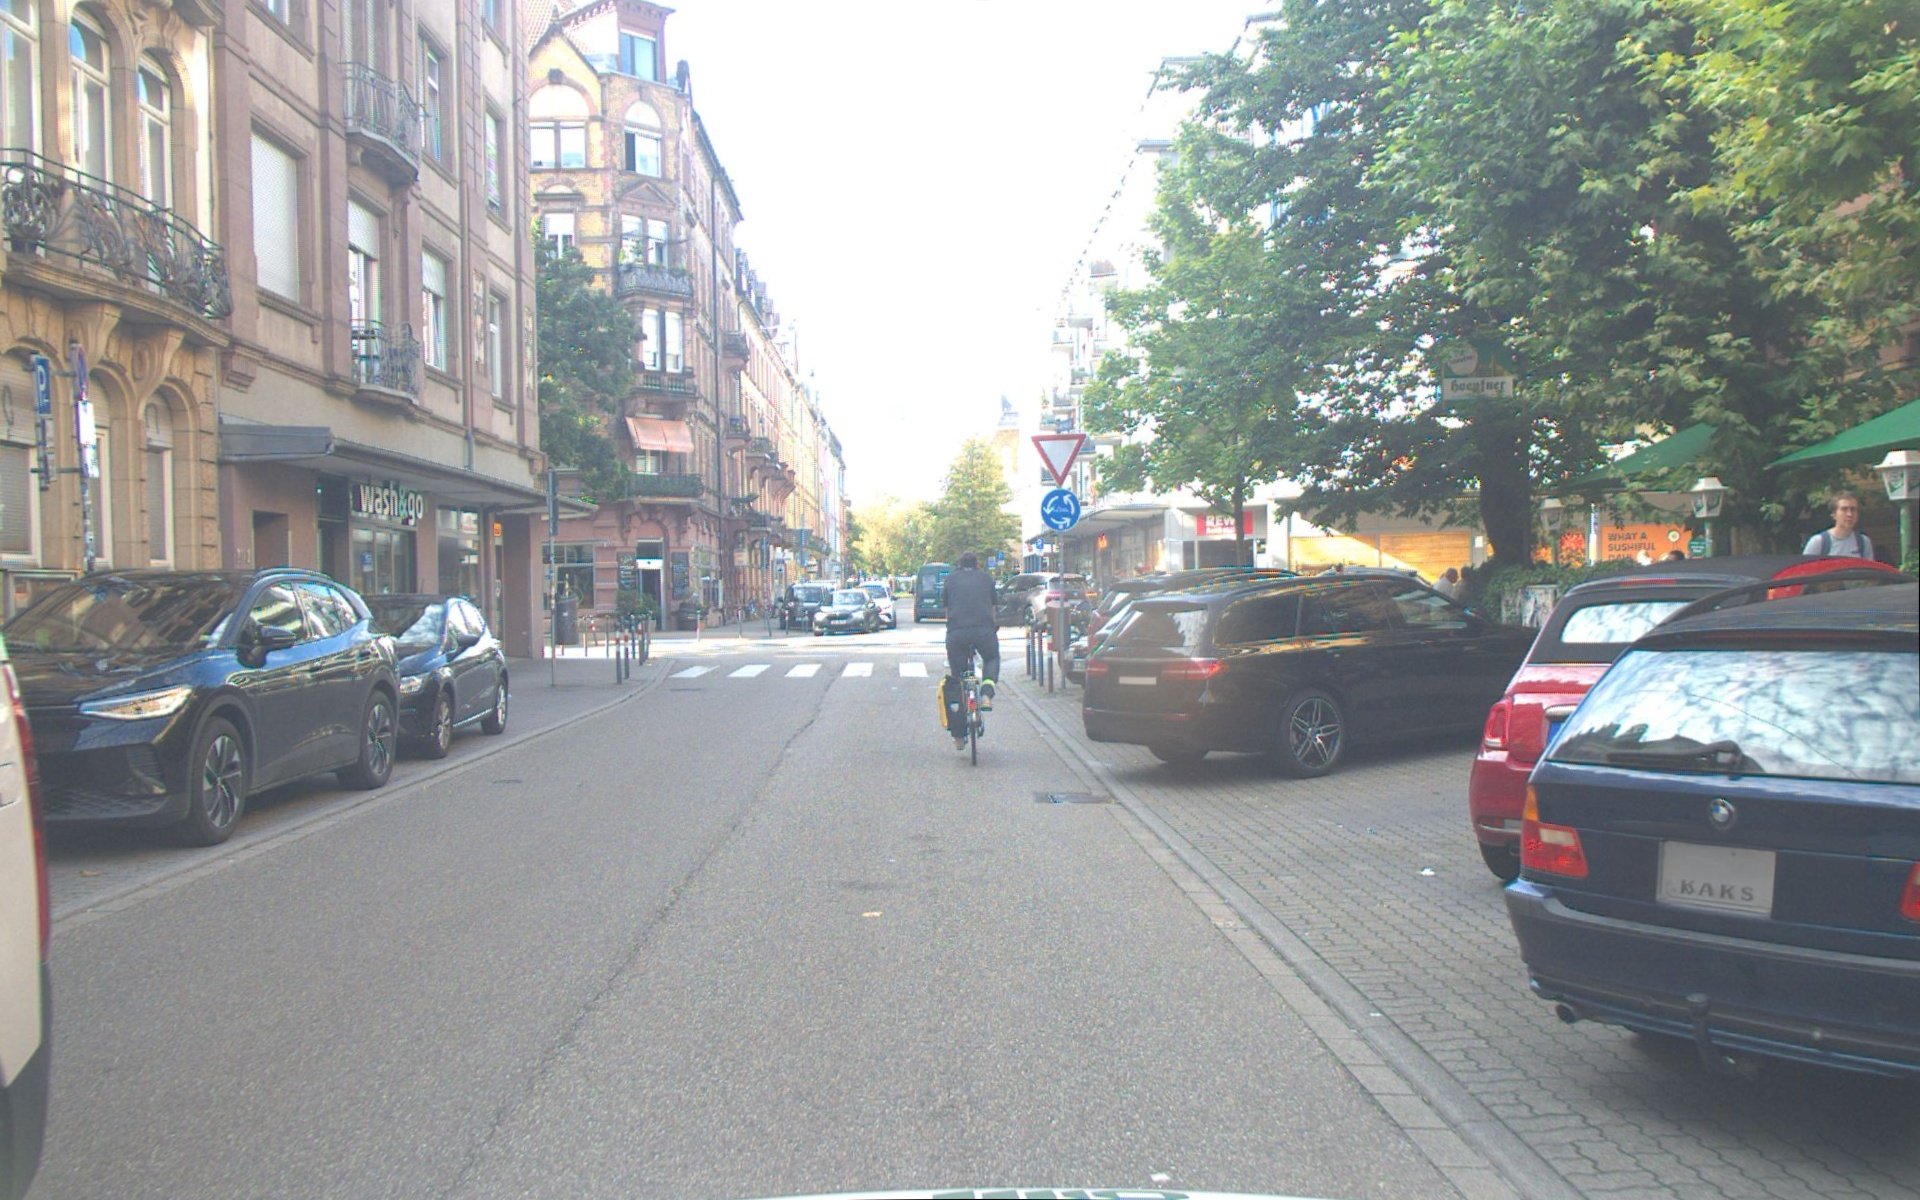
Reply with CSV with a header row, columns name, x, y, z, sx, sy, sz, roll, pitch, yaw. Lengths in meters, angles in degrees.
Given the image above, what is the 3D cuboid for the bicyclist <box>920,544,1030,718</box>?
name,x,y,z,sx,sy,sz,roll,pitch,yaw
bicyclist,0.121,0.264,14.732,0.915,1.510,0.746,0,0,-5

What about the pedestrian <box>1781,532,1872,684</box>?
name,x,y,z,sx,sy,sz,roll,pitch,yaw
pedestrian,9.908,0.092,18.928,0.633,1.670,0.563,-4,0,-6

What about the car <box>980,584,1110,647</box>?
name,x,y,z,sx,sy,sz,roll,pitch,yaw
car,2.376,0.424,47.267,1.971,1.646,3.963,-2,1,-28

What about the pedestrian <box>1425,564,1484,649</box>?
name,x,y,z,sx,sy,sz,roll,pitch,yaw
pedestrian,8.160,0.110,27.294,0.742,1.366,0.596,-2,0,-6

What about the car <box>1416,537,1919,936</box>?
name,x,y,z,sx,sy,sz,roll,pitch,yaw
car,4.134,0.489,8.386,3.686,1.511,1.716,-4,2,-40

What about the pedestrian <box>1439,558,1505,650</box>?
name,x,y,z,sx,sy,sz,roll,pitch,yaw
pedestrian,8.232,0.063,26.615,0.781,1.431,0.702,-2,0,-6

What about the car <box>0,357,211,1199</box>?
name,x,y,z,sx,sy,sz,roll,pitch,yaw
car,-2.418,0.558,1.121,1.879,1.860,4.437,0,0,-1

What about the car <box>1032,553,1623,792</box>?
name,x,y,z,sx,sy,sz,roll,pitch,yaw
car,3.143,0.481,13.894,4.704,1.482,2.036,-4,2,-30

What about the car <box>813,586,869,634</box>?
name,x,y,z,sx,sy,sz,roll,pitch,yaw
car,-3.831,0.318,53.625,1.715,1.461,4.209,0,0,-3

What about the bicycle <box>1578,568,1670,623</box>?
name,x,y,z,sx,sy,sz,roll,pitch,yaw
bicycle,15.507,-0.112,38.668,1.927,1.220,0.712,-1,0,19

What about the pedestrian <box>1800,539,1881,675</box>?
name,x,y,z,sx,sy,sz,roll,pitch,yaw
pedestrian,10.624,0.078,19.972,0.616,1.597,0.569,-2,0,-6

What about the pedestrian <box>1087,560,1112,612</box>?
name,x,y,z,sx,sy,sz,roll,pitch,yaw
pedestrian,4.561,-0.461,54.094,0.729,1.657,0.813,-1,0,9

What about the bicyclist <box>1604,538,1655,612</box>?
name,x,y,z,sx,sy,sz,roll,pitch,yaw
bicyclist,15.623,-0.580,38.630,0.991,1.697,0.944,-1,0,18

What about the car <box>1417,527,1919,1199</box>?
name,x,y,z,sx,sy,sz,roll,pitch,yaw
car,3.689,0.505,5.489,4.422,1.489,1.855,-5,2,-37

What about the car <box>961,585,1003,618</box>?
name,x,y,z,sx,sy,sz,roll,pitch,yaw
car,1.055,0.049,81.724,1.953,1.512,3.999,-2,1,-1

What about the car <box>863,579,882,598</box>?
name,x,y,z,sx,sy,sz,roll,pitch,yaw
car,-9.756,-1.300,184.485,1.953,2.049,3.998,-2,0,-2

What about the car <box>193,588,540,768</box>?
name,x,y,z,sx,sy,sz,roll,pitch,yaw
car,-5.530,0.641,16.049,1.954,1.445,4.242,-2,1,-2

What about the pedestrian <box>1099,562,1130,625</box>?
name,x,y,z,sx,sy,sz,roll,pitch,yaw
pedestrian,4.688,-0.190,50.204,0.850,1.883,0.613,-1,0,3

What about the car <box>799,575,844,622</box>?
name,x,y,z,sx,sy,sz,roll,pitch,yaw
car,-6.395,-0.068,76.654,1.954,2.049,3.997,-2,0,-4

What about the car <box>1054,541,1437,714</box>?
name,x,y,z,sx,sy,sz,roll,pitch,yaw
car,3.458,0.271,19.885,4.292,1.673,1.805,-4,2,-28

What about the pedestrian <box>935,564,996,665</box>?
name,x,y,z,sx,sy,sz,roll,pitch,yaw
pedestrian,0.107,0.266,30.528,0.768,1.811,0.790,-2,0,37

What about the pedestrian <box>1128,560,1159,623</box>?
name,x,y,z,sx,sy,sz,roll,pitch,yaw
pedestrian,5.556,-0.264,50.152,0.850,1.883,0.613,-1,0,3

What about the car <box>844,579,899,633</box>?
name,x,y,z,sx,sy,sz,roll,pitch,yaw
car,-3.295,0.187,62.416,1.904,1.751,4.848,-3,2,-2

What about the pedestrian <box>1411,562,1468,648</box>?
name,x,y,z,sx,sy,sz,roll,pitch,yaw
pedestrian,8.081,0.083,27.876,0.742,1.417,0.548,-2,0,-6

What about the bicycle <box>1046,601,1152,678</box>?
name,x,y,z,sx,sy,sz,roll,pitch,yaw
bicycle,2.036,0.589,24.473,0.542,1.058,1.837,-5,1,-30

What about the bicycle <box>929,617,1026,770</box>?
name,x,y,z,sx,sy,sz,roll,pitch,yaw
bicycle,0.123,0.773,14.677,0.652,1.198,2.495,0,0,-4

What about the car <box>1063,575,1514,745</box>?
name,x,y,z,sx,sy,sz,roll,pitch,yaw
car,3.439,0.545,17.218,4.348,1.482,1.926,-2,1,-27

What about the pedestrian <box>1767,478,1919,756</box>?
name,x,y,z,sx,sy,sz,roll,pitch,yaw
pedestrian,6.401,0.113,11.880,0.822,1.911,0.723,-2,0,2

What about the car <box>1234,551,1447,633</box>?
name,x,y,z,sx,sy,sz,roll,pitch,yaw
car,9.349,-0.183,40.676,4.733,1.754,2.042,-2,2,25

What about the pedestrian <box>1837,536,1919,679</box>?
name,x,y,z,sx,sy,sz,roll,pitch,yaw
pedestrian,10.552,0.078,18.975,0.616,1.597,0.569,-2,0,-6

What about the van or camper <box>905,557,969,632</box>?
name,x,y,z,sx,sy,sz,roll,pitch,yaw
van or camper,-1.038,-0.245,72.117,2.481,3.090,4.455,-2,0,-4

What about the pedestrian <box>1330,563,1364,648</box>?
name,x,y,z,sx,sy,sz,roll,pitch,yaw
pedestrian,8.266,0.116,35.339,0.615,1.769,0.776,-1,0,10

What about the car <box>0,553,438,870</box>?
name,x,y,z,sx,sy,sz,roll,pitch,yaw
car,-5.132,0.598,11.187,1.754,1.657,4.846,-1,0,-2

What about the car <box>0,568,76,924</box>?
name,x,y,z,sx,sy,sz,roll,pitch,yaw
car,-5.157,0.669,5.712,1.954,1.572,4.424,-1,0,-3

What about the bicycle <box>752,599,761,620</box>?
name,x,y,z,sx,sy,sz,roll,pitch,yaw
bicycle,-9.779,0.460,79.460,0.353,0.963,1.713,-1,0,-6
